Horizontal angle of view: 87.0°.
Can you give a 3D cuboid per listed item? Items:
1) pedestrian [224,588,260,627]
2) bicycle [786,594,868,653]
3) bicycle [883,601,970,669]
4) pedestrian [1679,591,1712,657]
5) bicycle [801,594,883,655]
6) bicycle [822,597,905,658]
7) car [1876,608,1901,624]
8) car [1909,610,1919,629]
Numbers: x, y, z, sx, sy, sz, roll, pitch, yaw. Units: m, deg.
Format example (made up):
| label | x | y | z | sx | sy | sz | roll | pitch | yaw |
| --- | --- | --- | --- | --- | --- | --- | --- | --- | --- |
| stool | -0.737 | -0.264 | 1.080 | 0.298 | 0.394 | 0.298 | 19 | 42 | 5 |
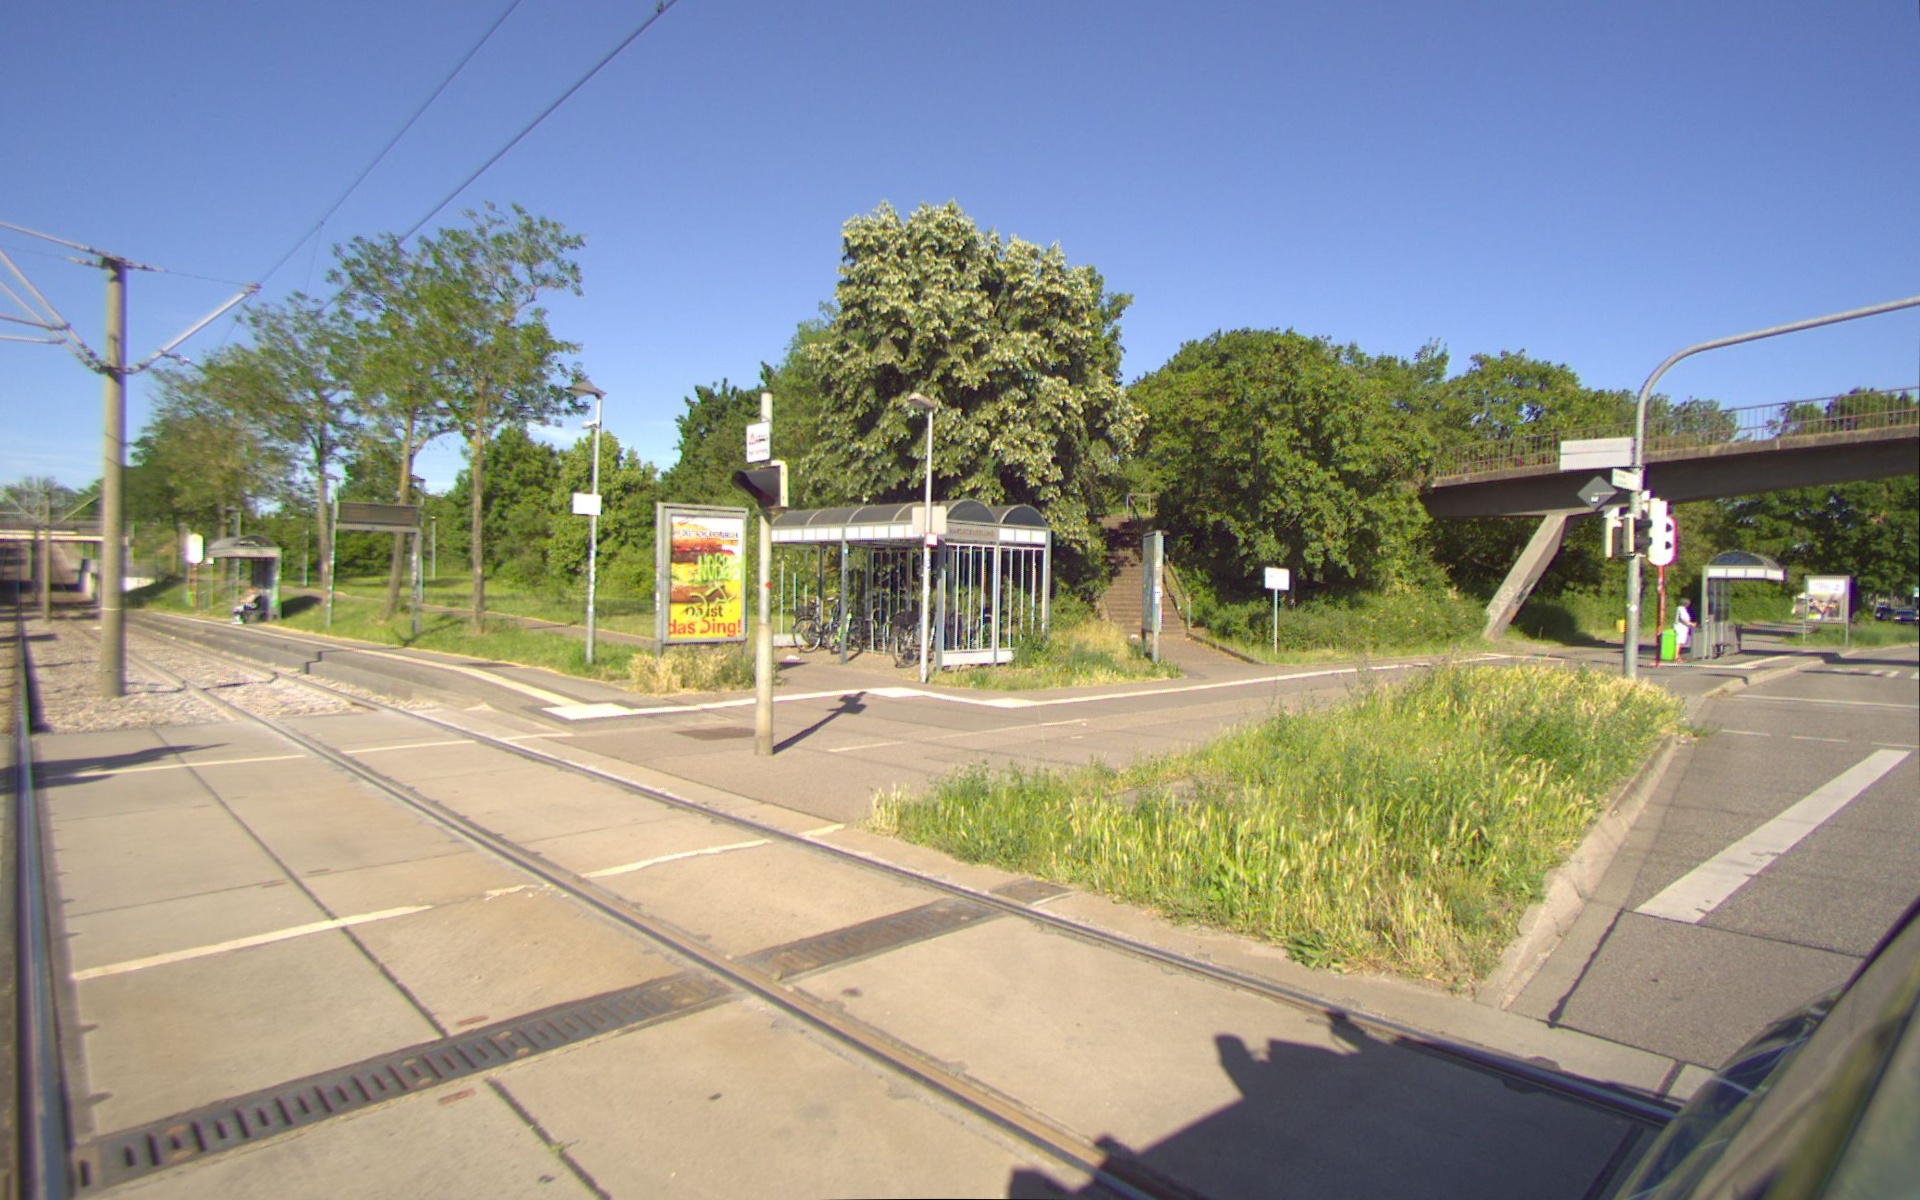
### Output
| label | x | y | z | sx | sy | sz | roll | pitch | yaw |
| --- | --- | --- | --- | --- | --- | --- | --- | --- | --- |
| pedestrian | -24.551 | 0.246 | 34.627 | 0.925 | 1.258 | 0.560 | -3 | 2 | -41 |
| bicycle | -2.814 | 0.475 | 21.542 | 1.755 | 1.080 | 0.431 | -5 | 6 | -41 |
| bicycle | -0.605 | 0.636 | 18.947 | 1.755 | 1.080 | 0.431 | -5 | 6 | -41 |
| pedestrian | 19.404 | 0.626 | 26.692 | 0.588 | 1.683 | 0.705 | 2 | 0 | 44 |
| bicycle | -2.442 | 0.490 | 21.096 | 1.755 | 1.080 | 0.431 | -5 | 6 | -41 |
| bicycle | -1.951 | 0.538 | 20.586 | 1.755 | 1.080 | 0.431 | -5 | 6 | -41 |
| car | 96.355 | 1.684 | 105.030 | 1.867 | 1.641 | 3.777 | 0 | -1 | 42 |
| car | 87.451 | 1.766 | 91.860 | 1.868 | 1.641 | 3.777 | 0 | -1 | 42 |
